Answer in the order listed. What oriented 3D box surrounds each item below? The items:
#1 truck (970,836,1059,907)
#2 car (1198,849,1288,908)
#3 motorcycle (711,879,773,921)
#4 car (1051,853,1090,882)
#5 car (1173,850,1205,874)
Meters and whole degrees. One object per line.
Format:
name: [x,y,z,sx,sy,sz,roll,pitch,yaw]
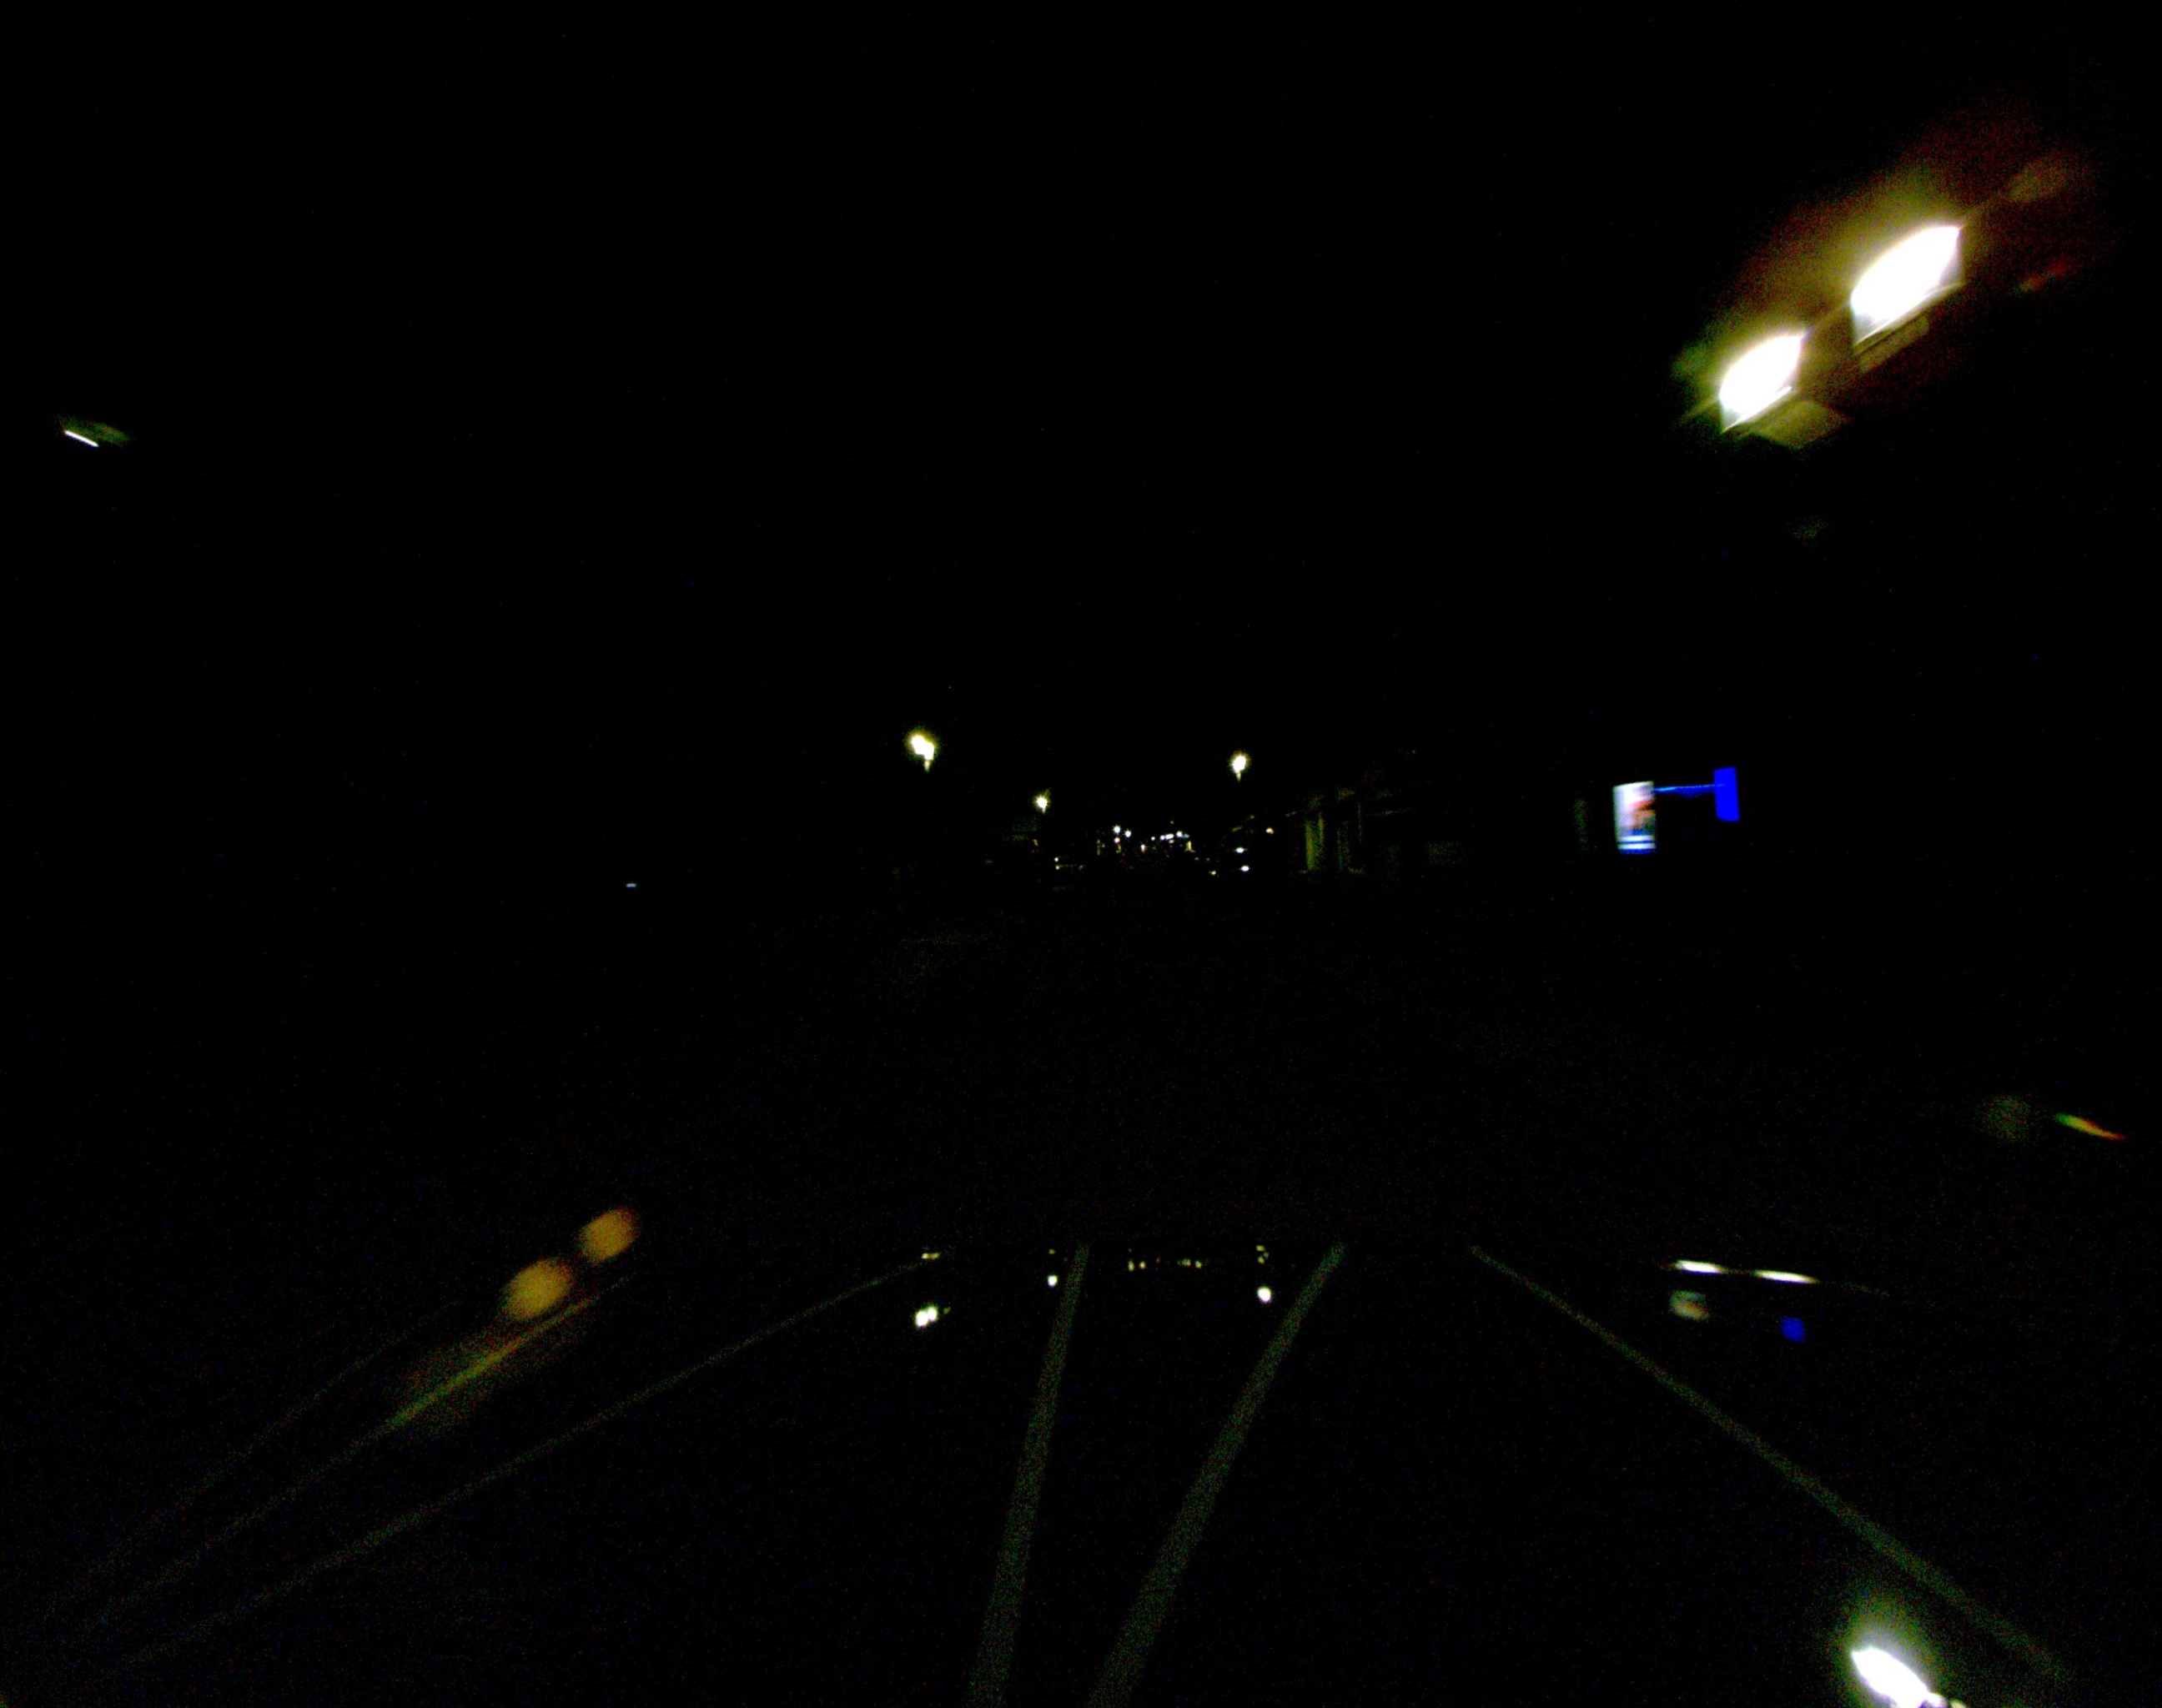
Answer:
truck: [-2.274,0.555,28.079,2.109,2.230,6.289,-3,0,5]
car: [4.742,0.680,22.824,1.795,1.496,4.000,-4,0,0]
motorcycle: [-10.903,1.475,24.457,1.725,1.244,0.433,-3,1,-8]
car: [-0.532,0.751,43.371,1.737,1.493,4.001,-3,0,5]
car: [7.072,0.479,50.125,1.836,1.458,4.001,-3,0,5]
